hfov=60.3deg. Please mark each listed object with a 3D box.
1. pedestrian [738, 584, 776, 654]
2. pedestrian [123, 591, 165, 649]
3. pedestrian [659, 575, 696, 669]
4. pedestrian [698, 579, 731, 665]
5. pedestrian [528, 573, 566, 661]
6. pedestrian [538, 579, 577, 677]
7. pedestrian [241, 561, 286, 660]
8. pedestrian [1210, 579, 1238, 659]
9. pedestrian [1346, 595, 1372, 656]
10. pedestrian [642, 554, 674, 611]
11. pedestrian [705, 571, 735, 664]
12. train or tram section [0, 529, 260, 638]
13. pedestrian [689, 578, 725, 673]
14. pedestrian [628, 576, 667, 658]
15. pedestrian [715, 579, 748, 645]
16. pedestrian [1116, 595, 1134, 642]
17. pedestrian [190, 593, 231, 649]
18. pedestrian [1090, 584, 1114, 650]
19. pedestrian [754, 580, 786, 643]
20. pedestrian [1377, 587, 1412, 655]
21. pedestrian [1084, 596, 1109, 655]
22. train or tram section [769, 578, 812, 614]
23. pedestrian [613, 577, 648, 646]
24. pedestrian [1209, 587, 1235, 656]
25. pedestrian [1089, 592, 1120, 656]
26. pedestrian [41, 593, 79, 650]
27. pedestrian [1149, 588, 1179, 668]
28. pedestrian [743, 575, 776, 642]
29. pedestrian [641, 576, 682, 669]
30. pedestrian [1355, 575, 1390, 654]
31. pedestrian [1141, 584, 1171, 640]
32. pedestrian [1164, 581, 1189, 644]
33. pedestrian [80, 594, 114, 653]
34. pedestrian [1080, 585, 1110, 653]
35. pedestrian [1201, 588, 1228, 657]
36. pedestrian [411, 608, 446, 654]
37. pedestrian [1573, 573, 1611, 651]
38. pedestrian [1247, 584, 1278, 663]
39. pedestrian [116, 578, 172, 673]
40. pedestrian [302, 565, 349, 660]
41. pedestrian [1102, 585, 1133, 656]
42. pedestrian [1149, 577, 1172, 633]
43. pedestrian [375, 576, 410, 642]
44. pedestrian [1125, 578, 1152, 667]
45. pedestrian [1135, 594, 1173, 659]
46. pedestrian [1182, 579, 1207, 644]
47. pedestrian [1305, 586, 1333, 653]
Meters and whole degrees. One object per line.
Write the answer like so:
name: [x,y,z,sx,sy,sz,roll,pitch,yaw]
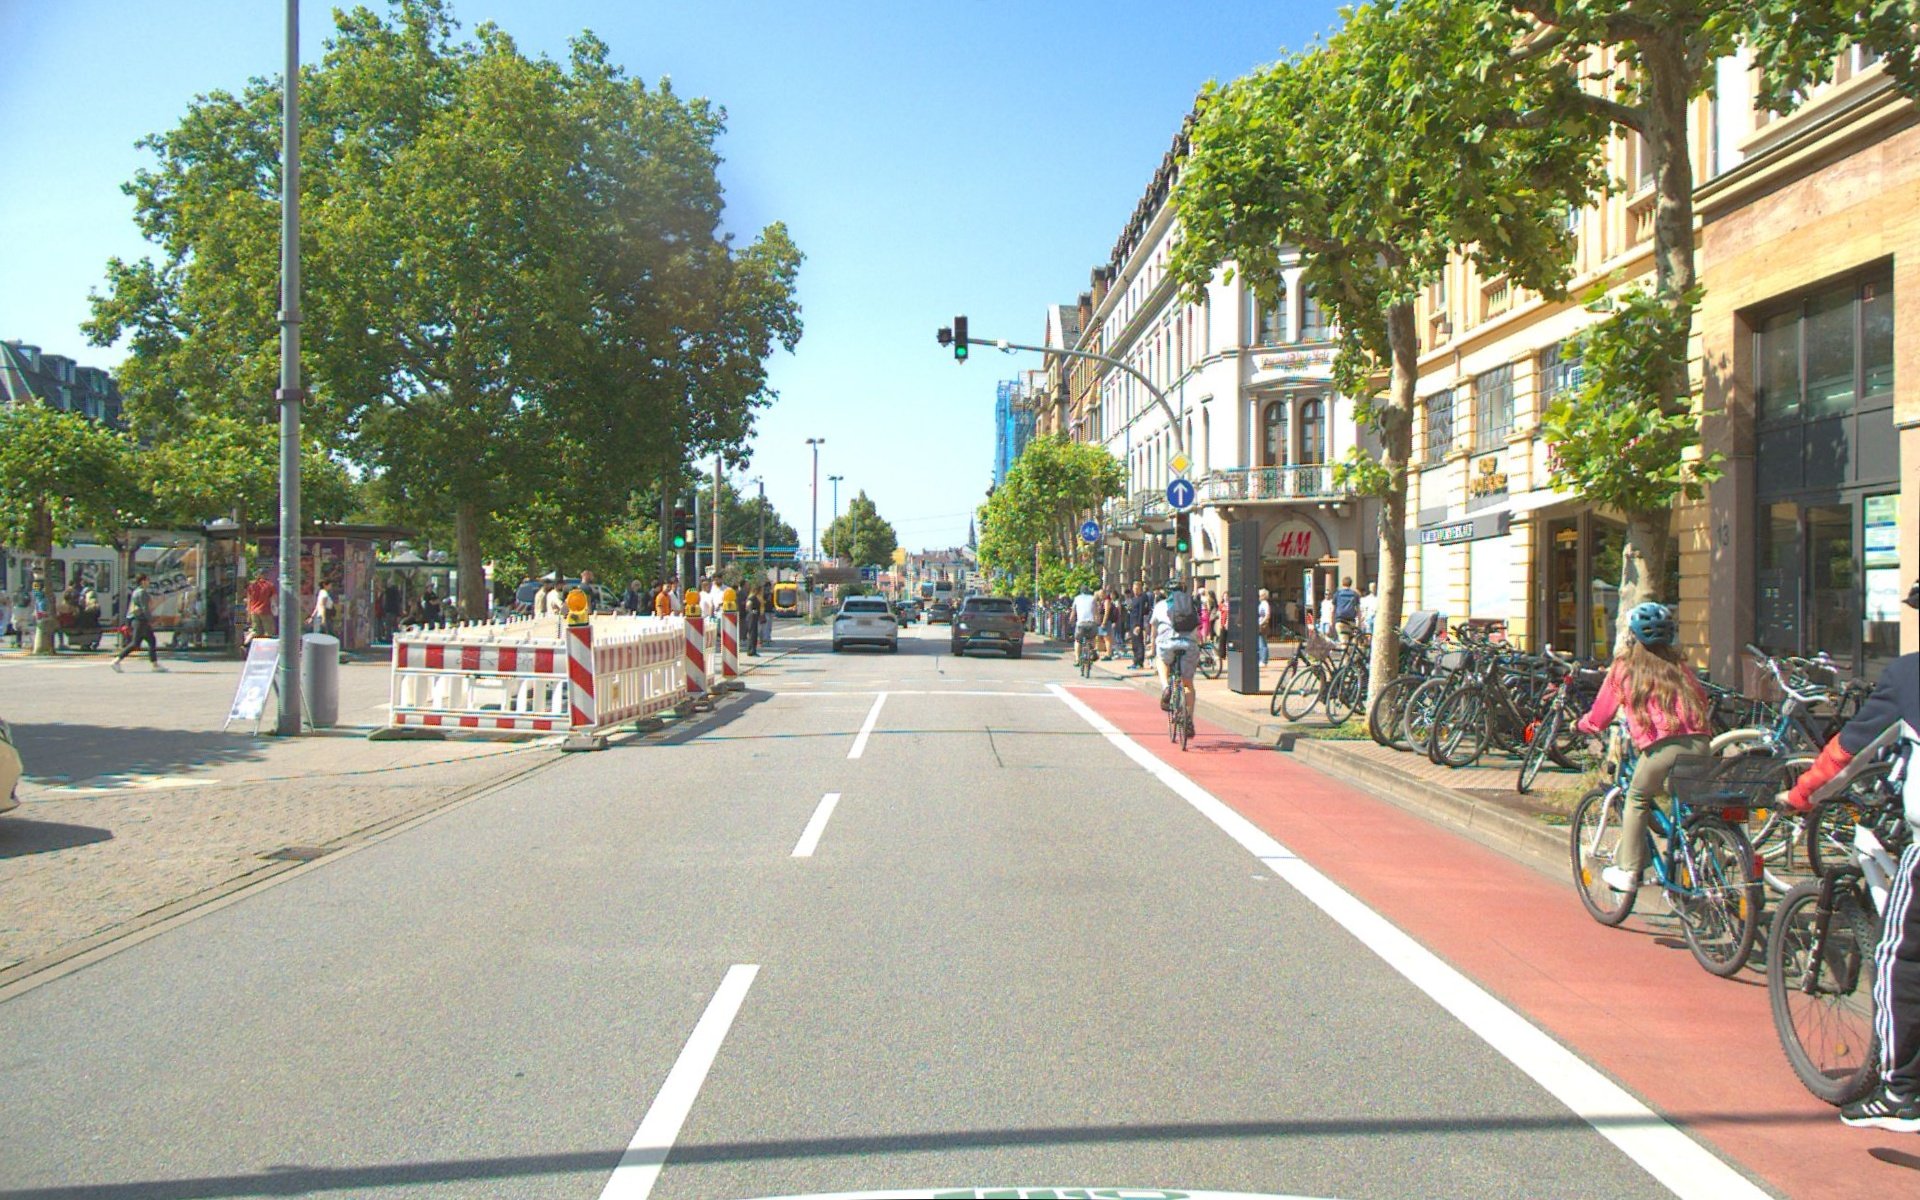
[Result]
pedestrian: [-4.767,0.436,38.817,0.619,1.623,0.687,0,-1,20]
pedestrian: [-18.161,0.445,36.809,0.600,1.284,0.609,0,0,35]
pedestrian: [-5.515,0.427,32.304,0.528,1.811,0.606,2,-1,5]
pedestrian: [-5.106,0.457,34.478,0.564,1.789,0.638,0,-1,1]
pedestrian: [-8.519,0.339,34.123,0.572,1.751,0.789,0,3,1]
pedestrian: [-8.037,0.559,33.029,0.564,1.924,0.653,2,-1,1]
pedestrian: [-13.671,0.214,32.466,0.656,1.912,0.624,2,-1,-36]
pedestrian: [6.245,0.449,39.107,0.512,1.855,0.641,-1,-1,-1]
pedestrian: [11.014,0.700,45.661,0.529,1.662,0.677,1,-1,-3]
pedestrian: [-9.531,-0.549,52.195,0.665,1.795,0.765,0,-1,28]
pedestrian: [-5.090,0.369,35.122,0.521,1.953,0.560,0,-1,1]
train or tram section: [-32.853,-0.575,59.182,2.567,3.741,15.499,1,0,34]
pedestrian: [-4.773,0.480,31.137,0.425,1.770,0.599,2,-1,-32]
pedestrian: [-7.334,0.402,38.780,0.619,1.891,0.687,0,-1,20]
pedestrian: [-6.539,0.347,47.418,0.620,1.891,0.730,0,-1,28]
pedestrian: [6.510,0.731,65.261,0.615,1.823,0.612,0,-1,-1]
pedestrian: [-17.196,0.479,37.960,0.599,1.284,0.611,0,0,25]
pedestrian: [4.051,0.475,47.187,0.598,1.855,0.677,0,-1,-3]
pedestrian: [-5.682,0.333,49.439,0.620,1.866,0.730,0,-1,28]
pedestrian: [10.185,0.489,38.743,0.579,1.596,0.547,-2,-1,45]
pedestrian: [4.024,0.759,48.783,0.571,1.703,0.605,-3,-1,-3]
train or tram section: [-16.733,-0.383,163.970,2.558,3.407,11.005,1,0,2]
pedestrian: [-8.850,0.308,44.437,0.619,1.842,0.731,0,-1,20]
pedestrian: [6.334,0.516,39.983,0.512,1.640,0.641,-1,-1,-1]
pedestrian: [3.627,0.599,41.590,0.598,1.541,0.677,-4,0,-3]
pedestrian: [-20.397,0.486,37.492,0.601,1.284,0.608,0,0,44]
pedestrian: [4.258,0.585,34.543,0.537,1.659,0.589,-1,-1,2]
pedestrian: [-5.521,0.231,45.632,0.619,1.825,0.731,0,-1,20]
pedestrian: [-5.698,0.430,31.584,0.534,1.748,0.599,2,-1,-32]
pedestrian: [9.685,0.336,38.857,0.579,1.833,0.547,-2,-1,45]
pedestrian: [6.047,0.367,51.042,0.603,1.735,0.671,-1,0,-29]
pedestrian: [6.401,0.378,48.895,0.598,1.838,0.677,0,-1,-3]
pedestrian: [-19.059,0.511,36.522,0.601,1.284,0.608,0,0,-23]
pedestrian: [3.636,0.505,44.629,0.598,1.769,0.677,-4,0,-3]
pedestrian: [6.100,0.538,39.651,0.512,1.637,0.641,-1,-1,-1]
pedestrian: [-15.162,0.878,47.183,0.619,1.316,0.731,0,-1,20]
pedestrian: [12.726,0.236,33.331,0.512,1.548,0.641,-1,-1,2]
pedestrian: [6.470,0.502,35.400,0.537,1.668,0.589,-1,-1,2]
pedestrian: [-13.740,0.428,27.868,0.564,1.559,0.606,2,-1,5]
pedestrian: [-12.085,0.236,31.513,0.564,1.769,0.606,2,-1,5]
pedestrian: [4.106,0.522,43.054,0.598,1.790,0.677,-4,0,-3]
pedestrian: [6.623,0.159,54.610,0.662,1.823,0.612,0,-1,-1]
pedestrian: [-15.970,0.256,46.565,0.619,1.842,0.615,-3,-2,19]
pedestrian: [3.899,0.495,36.200,0.512,1.931,0.641,-1,-1,2]
pedestrian: [5.813,0.794,49.572,0.599,1.833,0.677,-14,0,-3]
pedestrian: [6.812,0.340,48.110,0.598,1.855,0.677,0,-1,-3]
pedestrian: [9.973,0.545,45.931,0.598,1.838,0.677,0,-1,-3]
